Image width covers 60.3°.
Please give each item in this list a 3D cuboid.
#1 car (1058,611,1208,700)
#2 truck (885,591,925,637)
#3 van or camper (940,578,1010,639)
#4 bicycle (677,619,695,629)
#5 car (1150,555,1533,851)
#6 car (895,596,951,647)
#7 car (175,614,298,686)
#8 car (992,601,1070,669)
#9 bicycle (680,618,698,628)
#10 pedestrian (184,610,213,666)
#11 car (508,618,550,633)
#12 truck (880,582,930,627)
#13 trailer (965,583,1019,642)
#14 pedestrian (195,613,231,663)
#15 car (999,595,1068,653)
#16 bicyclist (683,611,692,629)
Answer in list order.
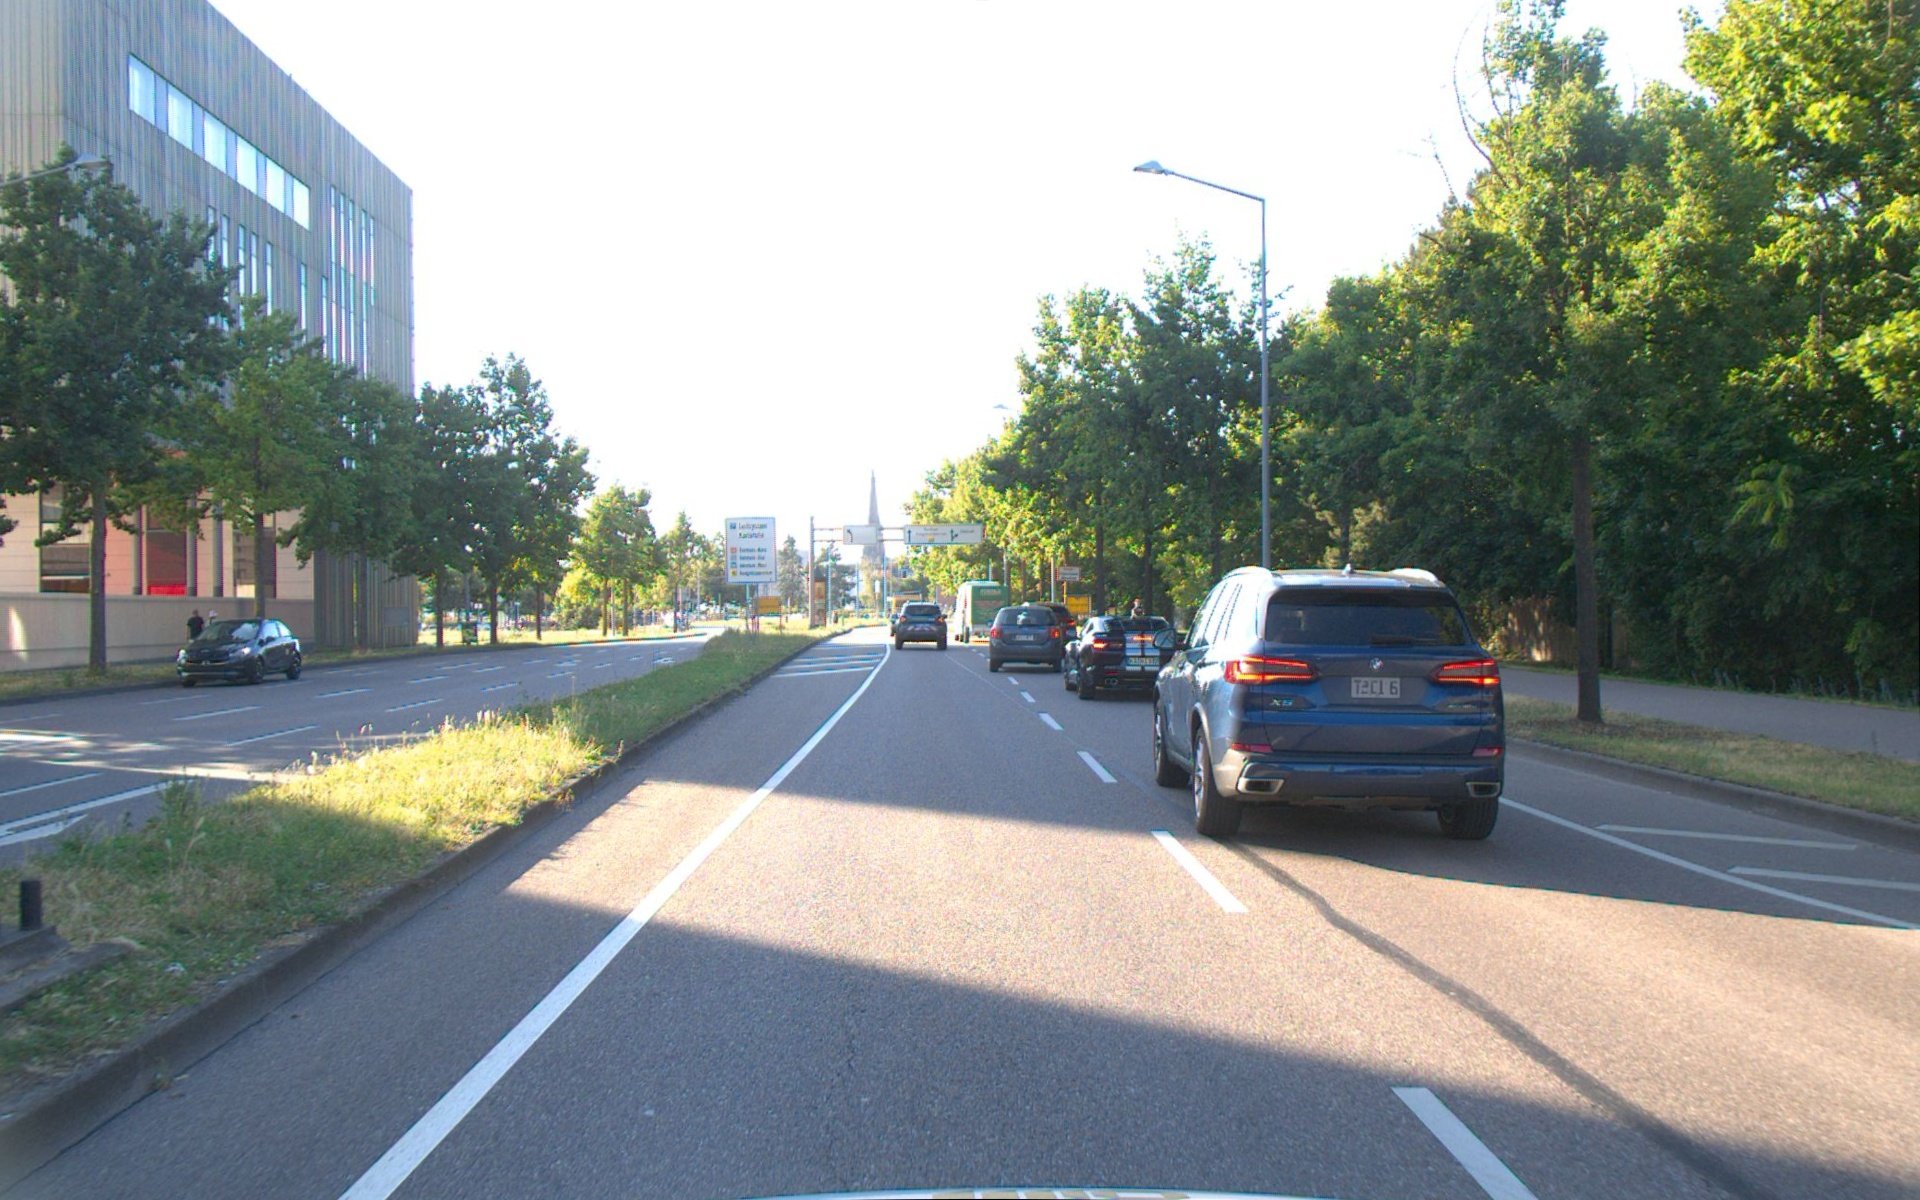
[{"bbox_3d":[2.816,0.874,27.942,1.817,1.361,4.622,0,0,-3],"label":"car"},{"bbox_3d":[-3.304,0.836,98.888,2.176,2.697,4.769,-1,0,-4],"label":"truck"},{"bbox_3d":[0.616,0.386,76.237,2.242,2.675,6.570,0,0,-9],"label":"van or camper"},{"bbox_3d":[-28.300,2.474,170.819,1.867,1.037,0.505,0,-1,12],"label":"bicycle"},{"bbox_3d":[2.547,0.649,12.242,1.914,1.757,4.700,0,-1,2],"label":"car"},{"bbox_3d":[-1.348,0.761,58.480,1.867,1.689,3.997,-1,-1,-3],"label":"car"},{"bbox_3d":[-16.644,1.108,38.211,1.565,1.539,3.860,-1,0,-8],"label":"car"},{"bbox_3d":[1.612,0.786,38.670,1.711,1.499,3.820,-1,0,1],"label":"car"},{"bbox_3d":[-28.222,2.371,172.240,1.868,1.037,0.504,-1,0,4],"label":"bicycle"},{"bbox_3d":[-25.484,1.260,55.370,0.620,1.873,0.716,-1,-1,-2],"label":"pedestrian"},{"bbox_3d":[-48.247,2.851,185.328,1.843,1.534,4.279,-1,0,44],"label":"car"},{"bbox_3d":[-3.354,0.283,99.627,2.531,2.603,6.243,-1,0,-6],"label":"truck"},{"bbox_3d":[1.322,0.530,70.332,2.048,2.442,3.499,1,-1,-3],"label":"trailer"},{"bbox_3d":[-24.642,1.240,54.578,0.760,1.629,0.909,-1,0,-2],"label":"pedestrian"},{"bbox_3d":[2.147,0.707,49.289,1.712,1.649,3.817,0,0,-3],"label":"car"},{"bbox_3d":[-28.100,2.039,170.777,0.795,1.802,0.497,0,-1,12],"label":"bicyclist"}]
